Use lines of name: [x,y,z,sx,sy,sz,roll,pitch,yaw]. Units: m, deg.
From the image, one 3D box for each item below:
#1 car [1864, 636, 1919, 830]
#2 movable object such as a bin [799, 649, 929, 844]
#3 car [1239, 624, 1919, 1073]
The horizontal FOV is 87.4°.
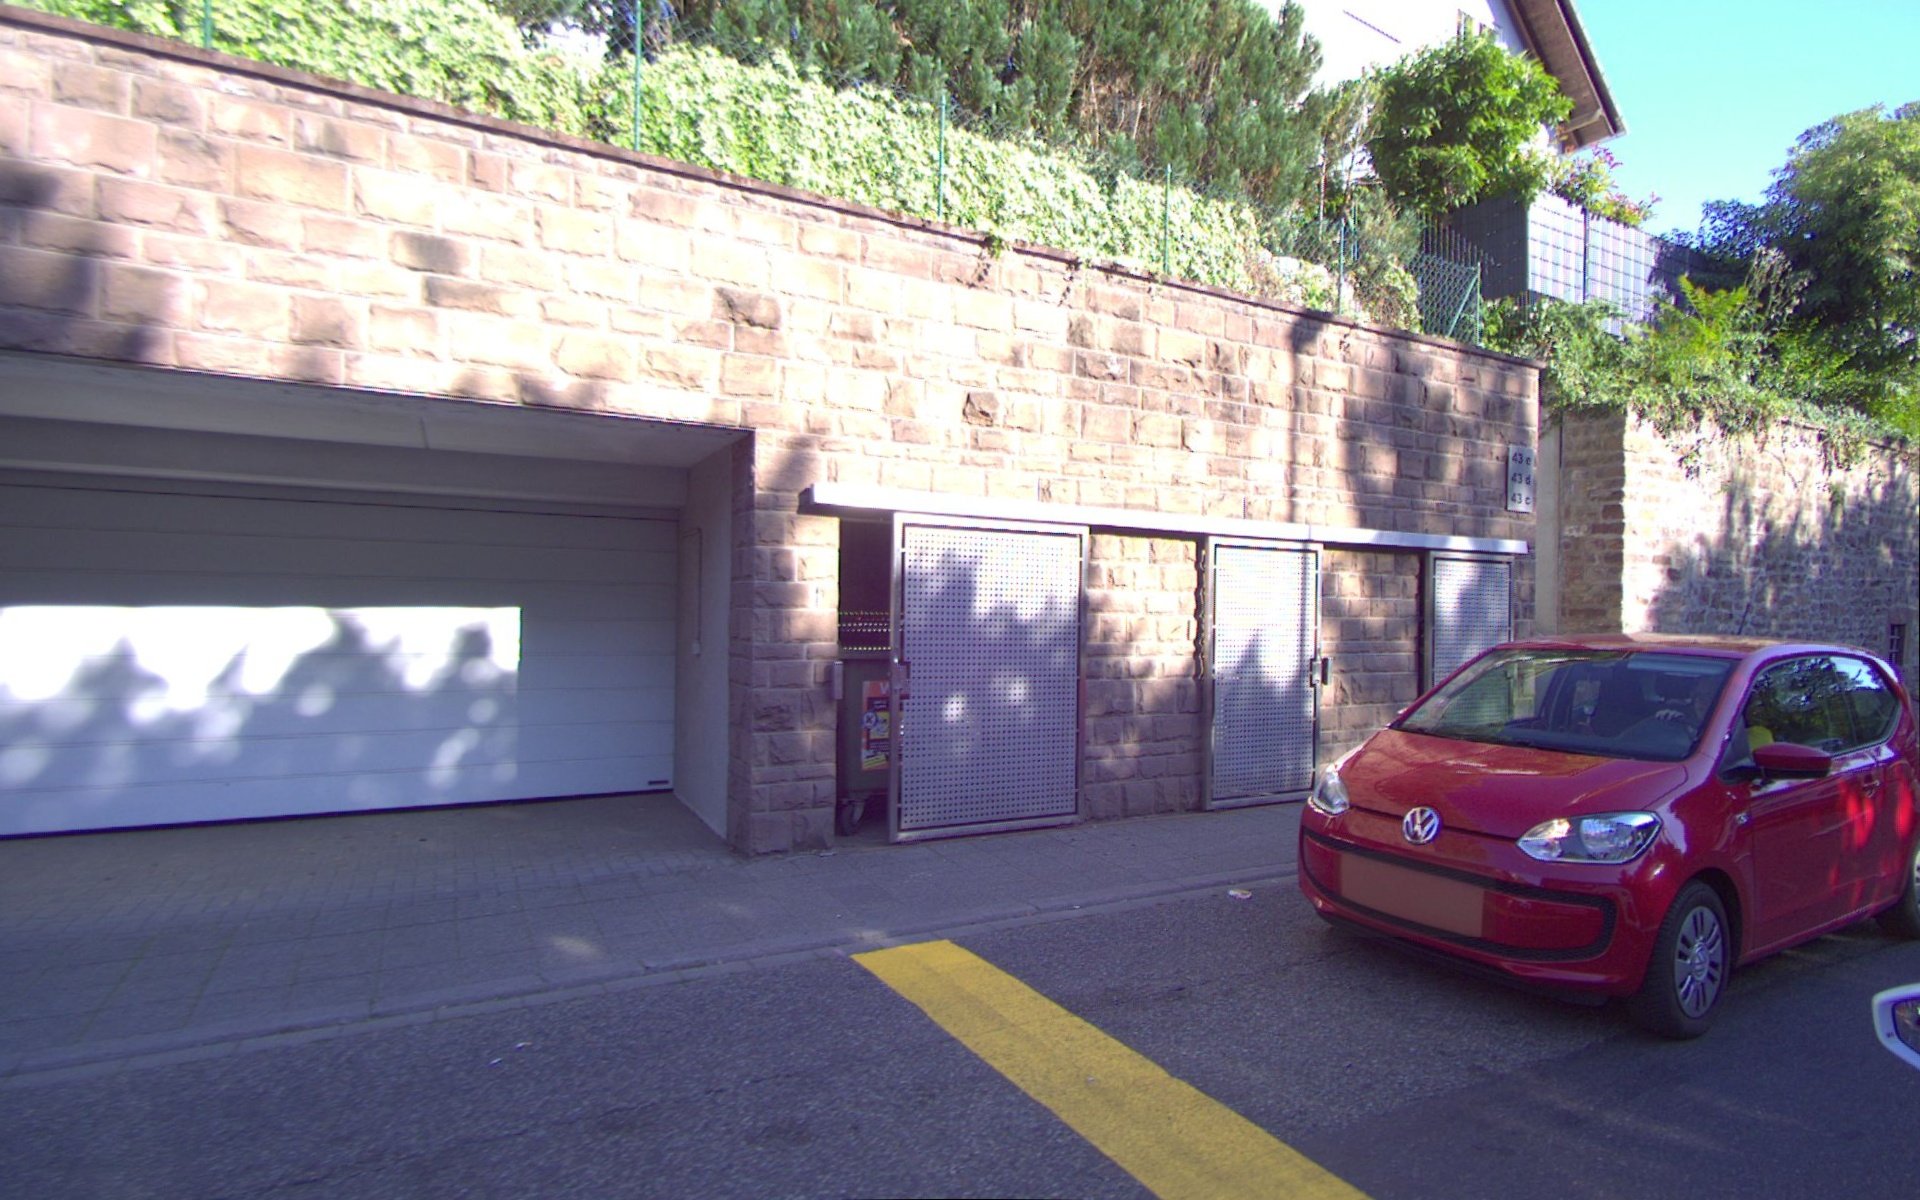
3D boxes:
car: [9.006,1.021,7.957,3.884,1.429,1.641,1,-1,-30]
movable object such as a bin: [-0.650,0.938,6.723,0.657,1.191,0.655,1,-1,-28]
car: [3.208,0.862,4.879,3.522,1.440,1.618,1,-1,-31]
